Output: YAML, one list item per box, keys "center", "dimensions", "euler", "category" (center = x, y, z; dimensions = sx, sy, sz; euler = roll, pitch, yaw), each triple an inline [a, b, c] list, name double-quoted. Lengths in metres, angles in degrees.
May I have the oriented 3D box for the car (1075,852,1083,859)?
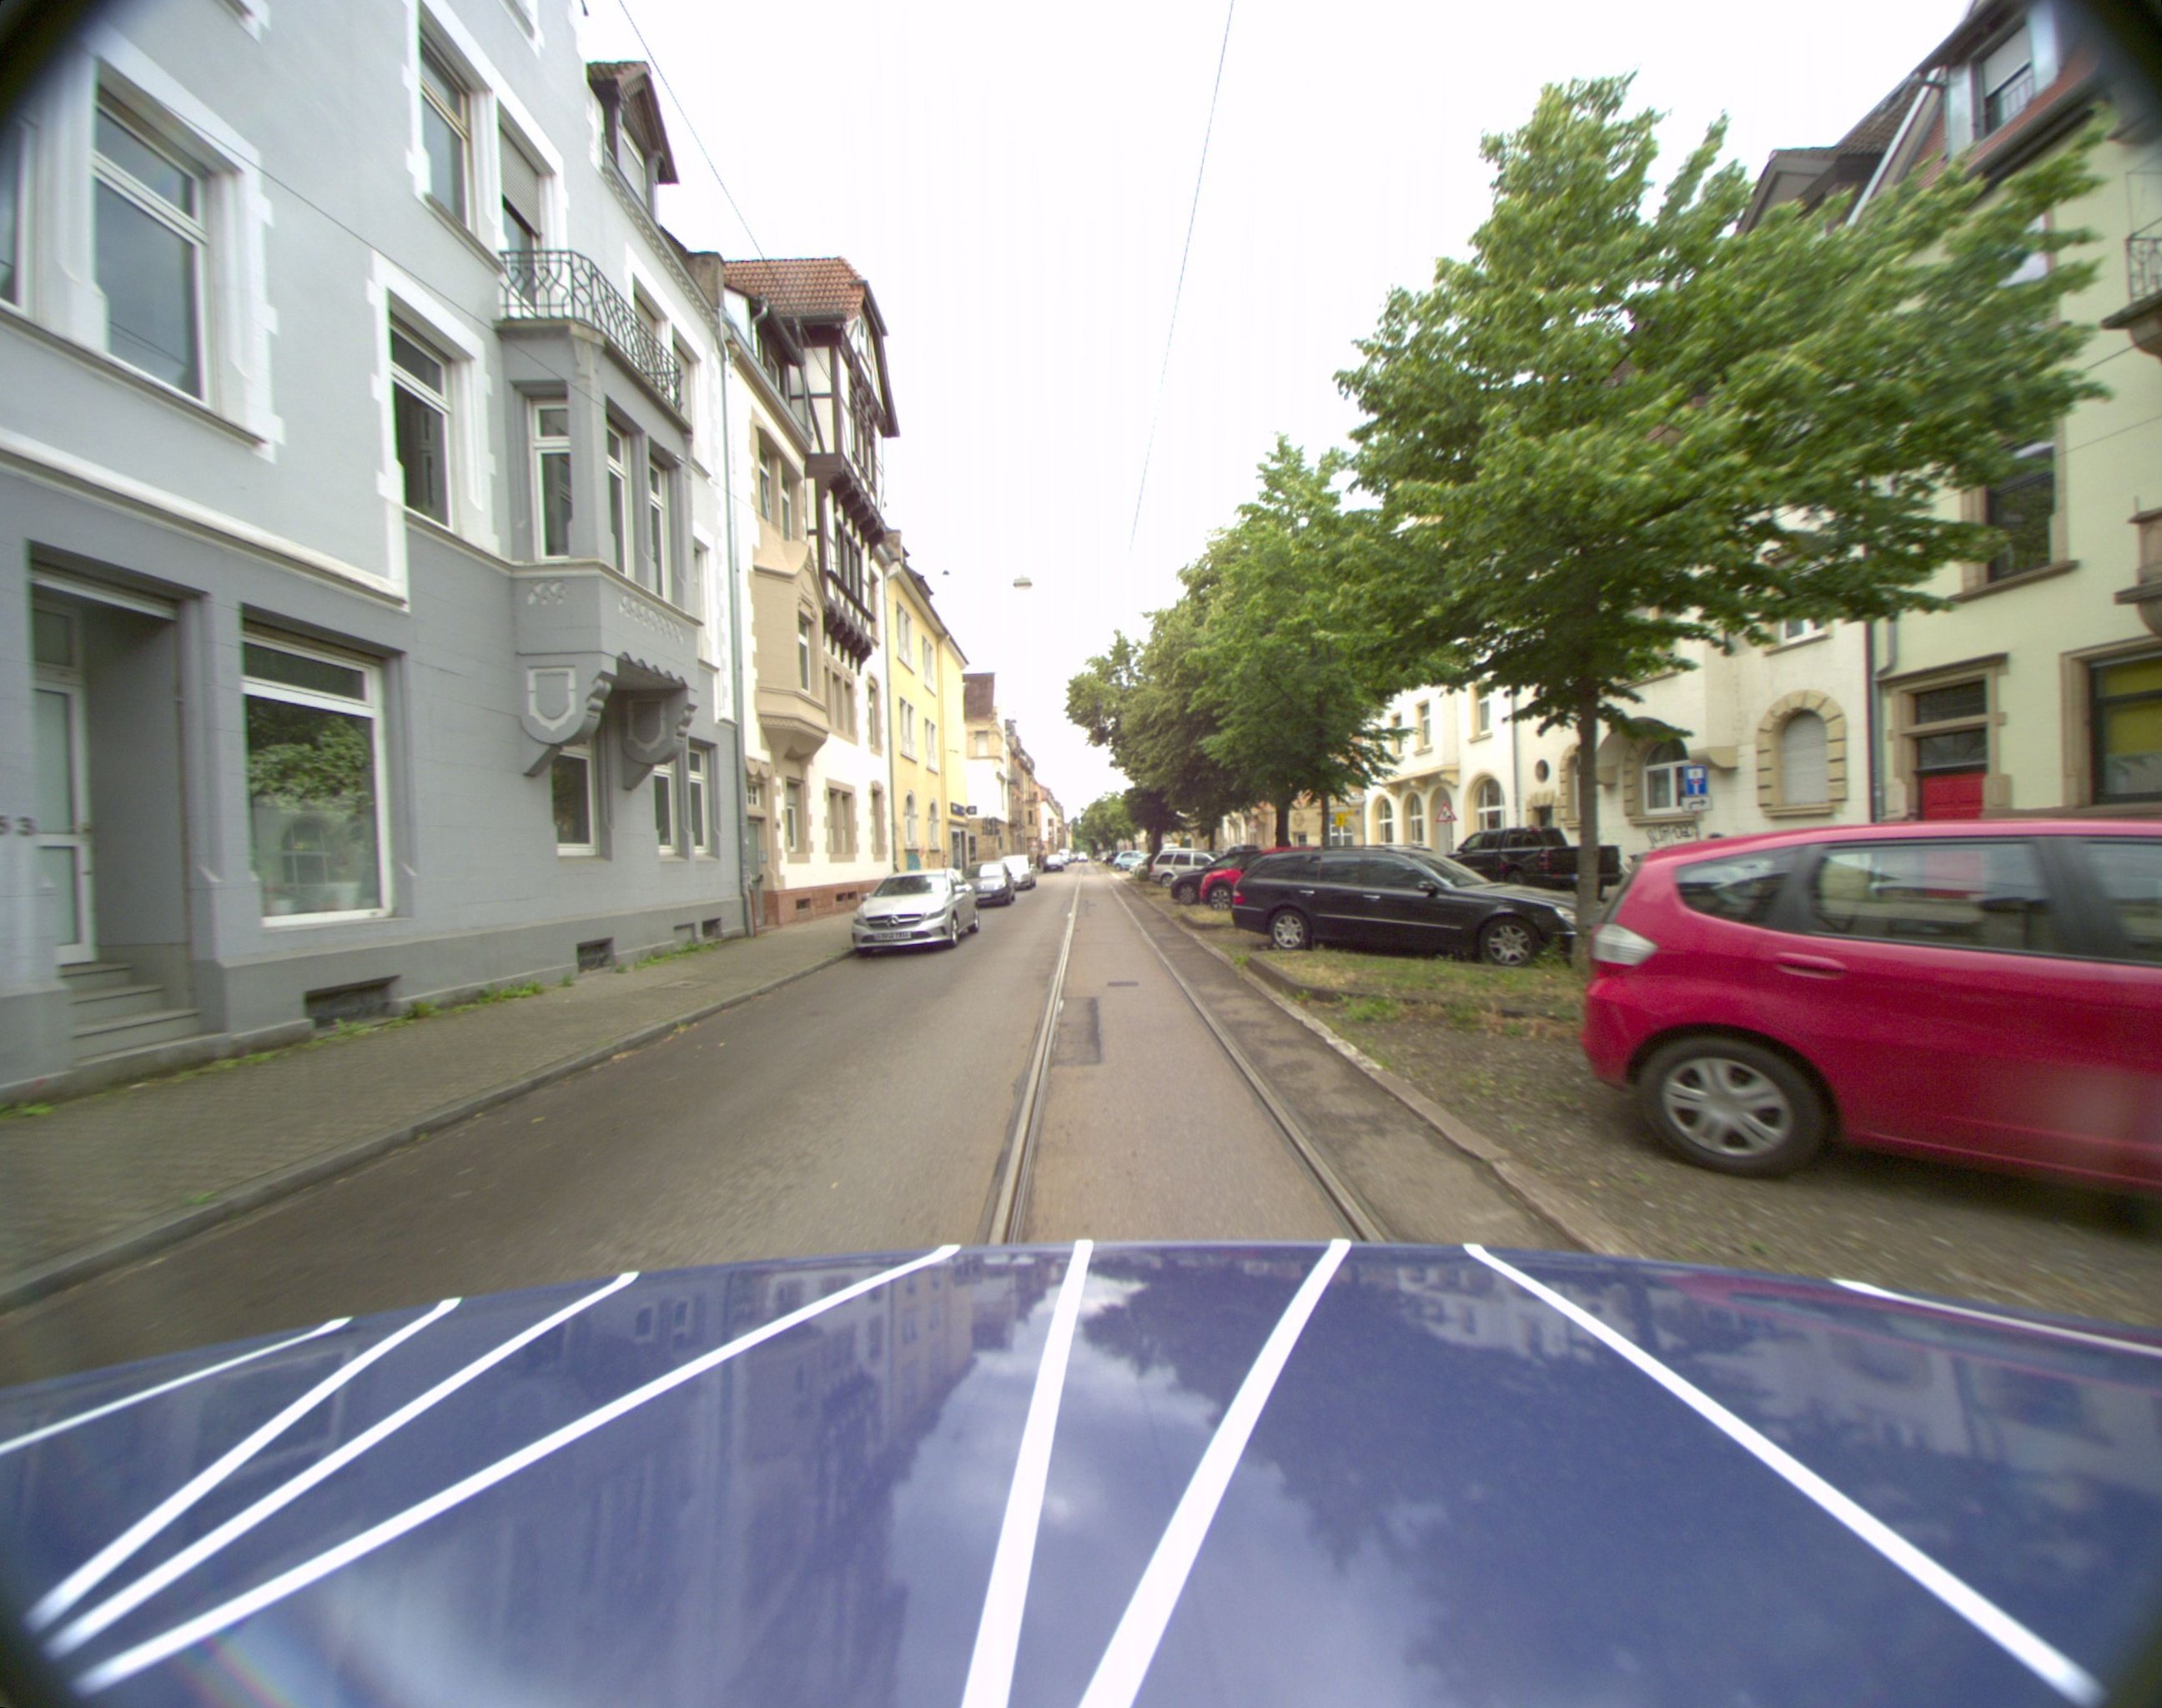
- center: [-0.485, 0.392, 184.736]
  dimensions: [1.824, 1.477, 4.000]
  euler: [-2, 0, 0]
  category: "car"

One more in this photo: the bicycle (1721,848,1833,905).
- center: [15.094, 0.454, 16.548]
  dimensions: [0.612, 1.120, 1.916]
  euler: [-5, 0, 0]
  category: "bicycle"

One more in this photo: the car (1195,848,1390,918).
- center: [4.615, 0.611, 16.874]
  dimensions: [3.727, 1.380, 1.793]
  euler: [-2, -1, 44]
  category: "car"

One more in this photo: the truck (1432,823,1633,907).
- center: [11.777, 0.230, 20.511]
  dimensions: [2.150, 1.845, 6.064]
  euler: [-2, 0, 4]
  category: "truck"

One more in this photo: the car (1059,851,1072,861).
- center: [-2.337, 0.291, 113.928]
  dimensions: [1.824, 1.477, 4.000]
  euler: [-2, 0, 0]
  category: "car"

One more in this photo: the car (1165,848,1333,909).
- center: [4.431, 0.642, 20.426]
  dimensions: [3.989, 1.458, 1.902]
  euler: [-2, -1, 44]
  category: "car"

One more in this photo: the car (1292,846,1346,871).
- center: [12.155, 0.213, 38.989]
  dimensions: [1.639, 1.169, 3.380]
  euler: [-2, 0, -2]
  category: "car"

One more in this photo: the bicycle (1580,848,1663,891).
- center: [15.002, 0.422, 21.164]
  dimensions: [0.613, 1.120, 1.914]
  euler: [-5, 0, -11]
  category: "bicycle"

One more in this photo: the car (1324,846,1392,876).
- center: [12.098, 0.287, 33.381]
  dimensions: [1.639, 1.169, 3.380]
  euler: [-2, 0, -2]
  category: "car"

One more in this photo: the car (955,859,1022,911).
- center: [-3.071, 0.995, 25.991]
  dimensions: [1.635, 1.478, 4.213]
  euler: [-5, 0, 0]
  category: "car"

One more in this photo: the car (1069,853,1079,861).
- center: [-1.321, 0.600, 150.607]
  dimensions: [1.824, 1.477, 4.000]
  euler: [-2, 0, 0]
  category: "car"

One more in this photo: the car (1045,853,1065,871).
- center: [-2.423, 0.719, 71.515]
  dimensions: [1.676, 1.520, 4.212]
  euler: [-3, 1, 0]
  category: "car"

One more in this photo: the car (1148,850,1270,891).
- center: [4.660, 0.615, 27.928]
  dimensions: [3.989, 1.407, 1.902]
  euler: [-2, -1, 39]
  category: "car"

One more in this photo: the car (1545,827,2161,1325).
- center: [4.153, 0.683, 2.797]
  dimensions: [1.678, 1.518, 3.803]
  euler: [-4, 0, -45]
  category: "car"

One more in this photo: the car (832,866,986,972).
- center: [-3.084, 1.101, 14.571]
  dimensions: [1.793, 1.504, 4.213]
  euler: [-5, 0, 1]
  category: "car"

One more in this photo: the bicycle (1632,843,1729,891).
- center: [15.008, 0.320, 19.094]
  dimensions: [0.613, 1.120, 1.914]
  euler: [-5, 0, -11]
  category: "bicycle"

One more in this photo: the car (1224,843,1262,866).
- center: [12.164, -0.007, 57.339]
  dimensions: [1.796, 1.596, 4.512]
  euler: [-2, 0, -1]
  category: "car"

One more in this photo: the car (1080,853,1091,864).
- center: [0.778, 0.796, 145.147]
  dimensions: [1.998, 2.002, 3.999]
  euler: [-2, 1, 0]
  category: "car"

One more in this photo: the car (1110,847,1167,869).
- center: [4.508, 0.357, 59.738]
  dimensions: [3.989, 1.602, 1.902]
  euler: [-2, -1, 31]
  category: "car"

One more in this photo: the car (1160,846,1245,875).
- center: [6.325, 0.355, 39.449]
  dimensions: [3.991, 1.407, 1.901]
  euler: [-2, -1, 21]
  category: "car"

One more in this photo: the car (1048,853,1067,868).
- center: [-2.421, 0.622, 80.043]
  dimensions: [1.824, 1.477, 4.000]
  euler: [-2, 0, 0]
  category: "car"

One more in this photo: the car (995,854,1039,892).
- center: [-2.974, 0.854, 36.020]
  dimensions: [1.635, 1.520, 4.212]
  euler: [-3, 1, 0]
  category: "car"

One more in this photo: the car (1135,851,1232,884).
- center: [4.657, 0.623, 34.728]
  dimensions: [3.989, 1.407, 1.902]
  euler: [-2, -1, 39]
  category: "car"

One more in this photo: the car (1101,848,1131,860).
- center: [5.121, 0.032, 111.718]
  dimensions: [3.991, 1.602, 1.901]
  euler: [-1, -1, 22]
  category: "car"

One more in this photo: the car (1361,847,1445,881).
- center: [12.065, 0.349, 28.700]
  dimensions: [1.639, 1.169, 3.380]
  euler: [-2, 0, -2]
  category: "car"

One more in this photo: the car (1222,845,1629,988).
- center: [4.388, 0.707, 10.262]
  dimensions: [1.889, 1.458, 4.595]
  euler: [-3, 1, -44]
  category: "car"
